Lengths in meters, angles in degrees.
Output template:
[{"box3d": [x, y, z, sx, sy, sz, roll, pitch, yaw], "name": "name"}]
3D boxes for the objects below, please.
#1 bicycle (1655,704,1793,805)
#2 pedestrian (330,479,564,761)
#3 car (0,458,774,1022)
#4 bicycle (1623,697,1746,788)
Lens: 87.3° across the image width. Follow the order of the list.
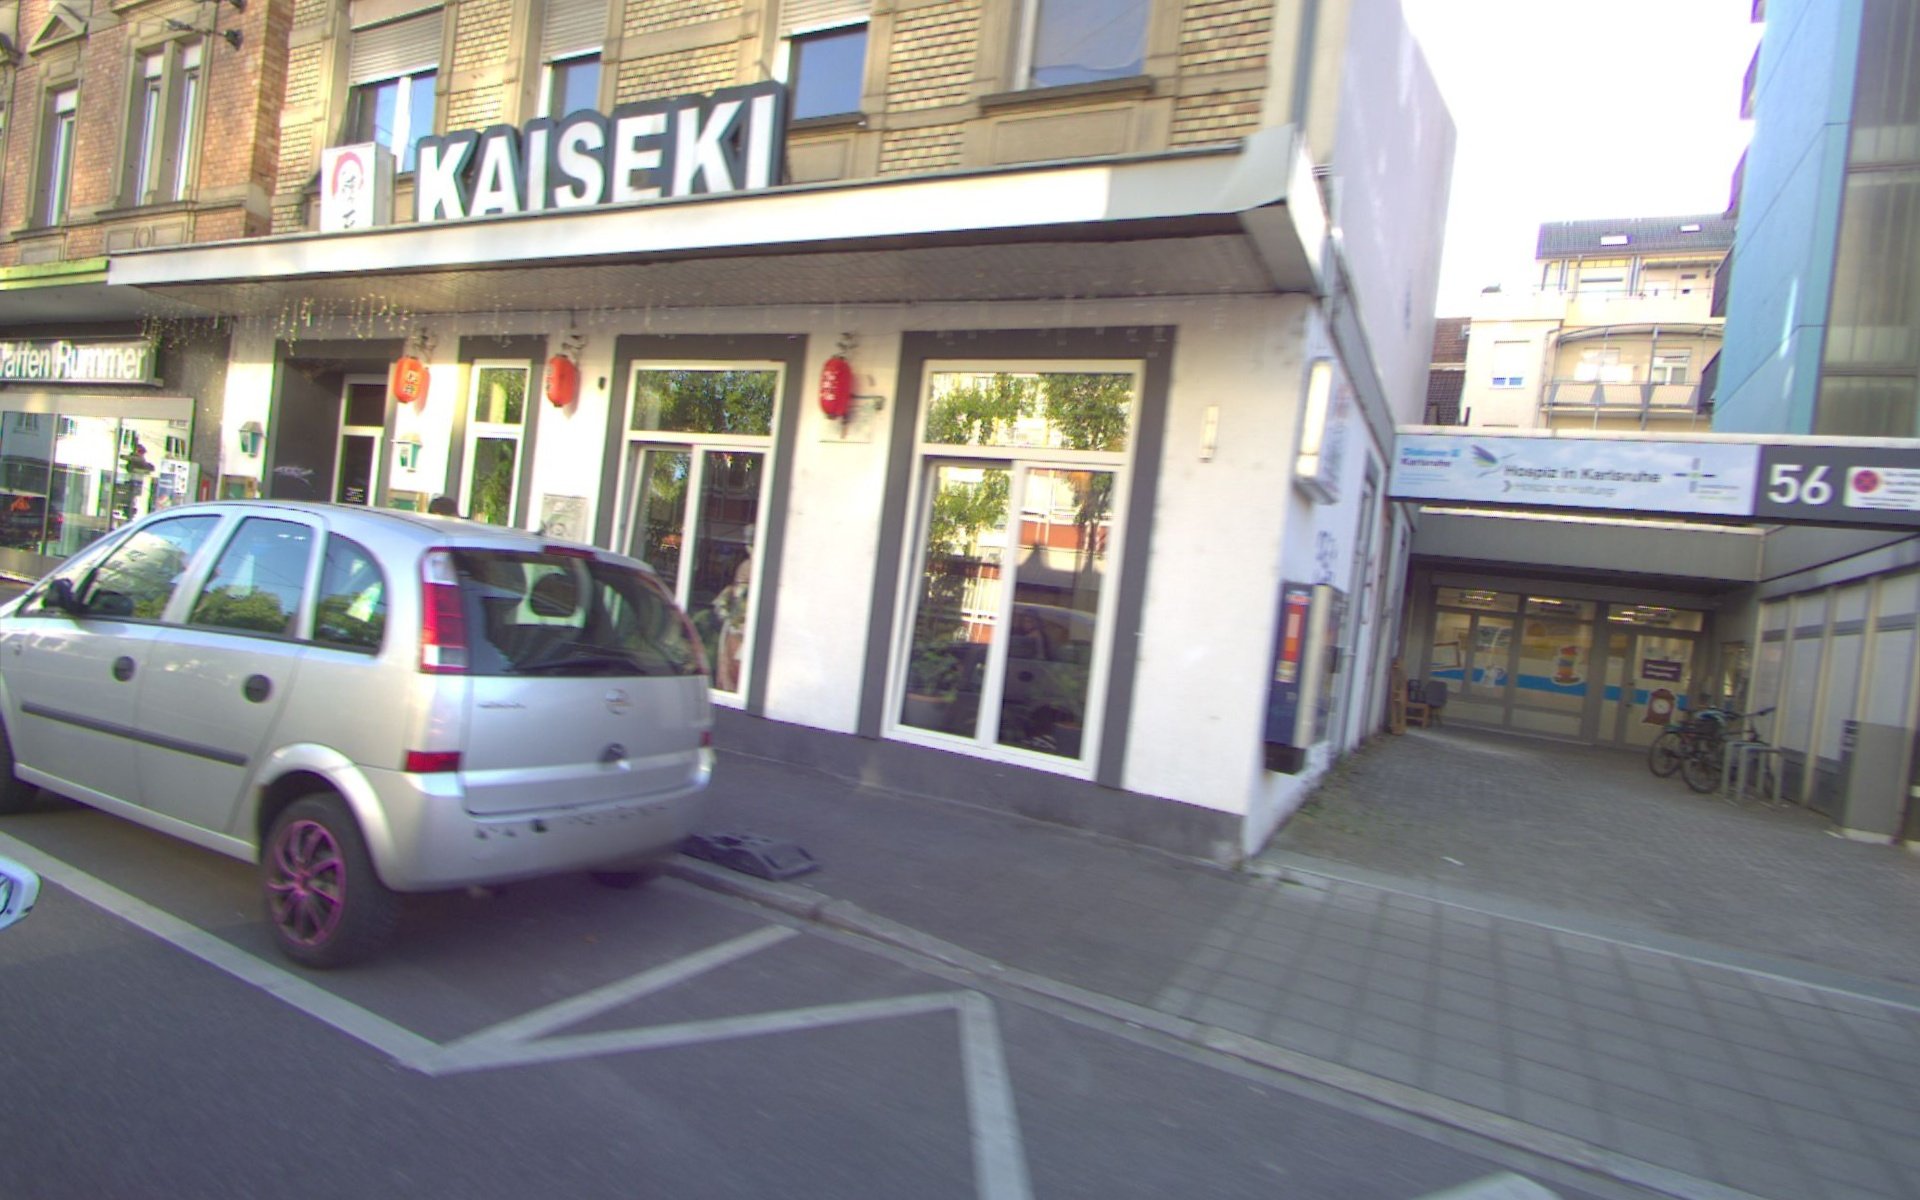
[{"box3d": [9.843, 1.986, 12.977, 1.394, 1.099, 0.431, 7, 1, -5], "name": "bicycle"}, {"box3d": [-3.687, 0.126, 7.265, 1.036, 1.816, 0.947, 7, 2, 27], "name": "pedestrian"}, {"box3d": [-3.024, 0.357, 4.737, 3.875, 1.634, 1.642, 7, 0, 26], "name": "car"}, {"box3d": [10.405, 2.047, 14.461, 1.394, 1.099, 0.431, 7, 1, -5], "name": "bicycle"}]
